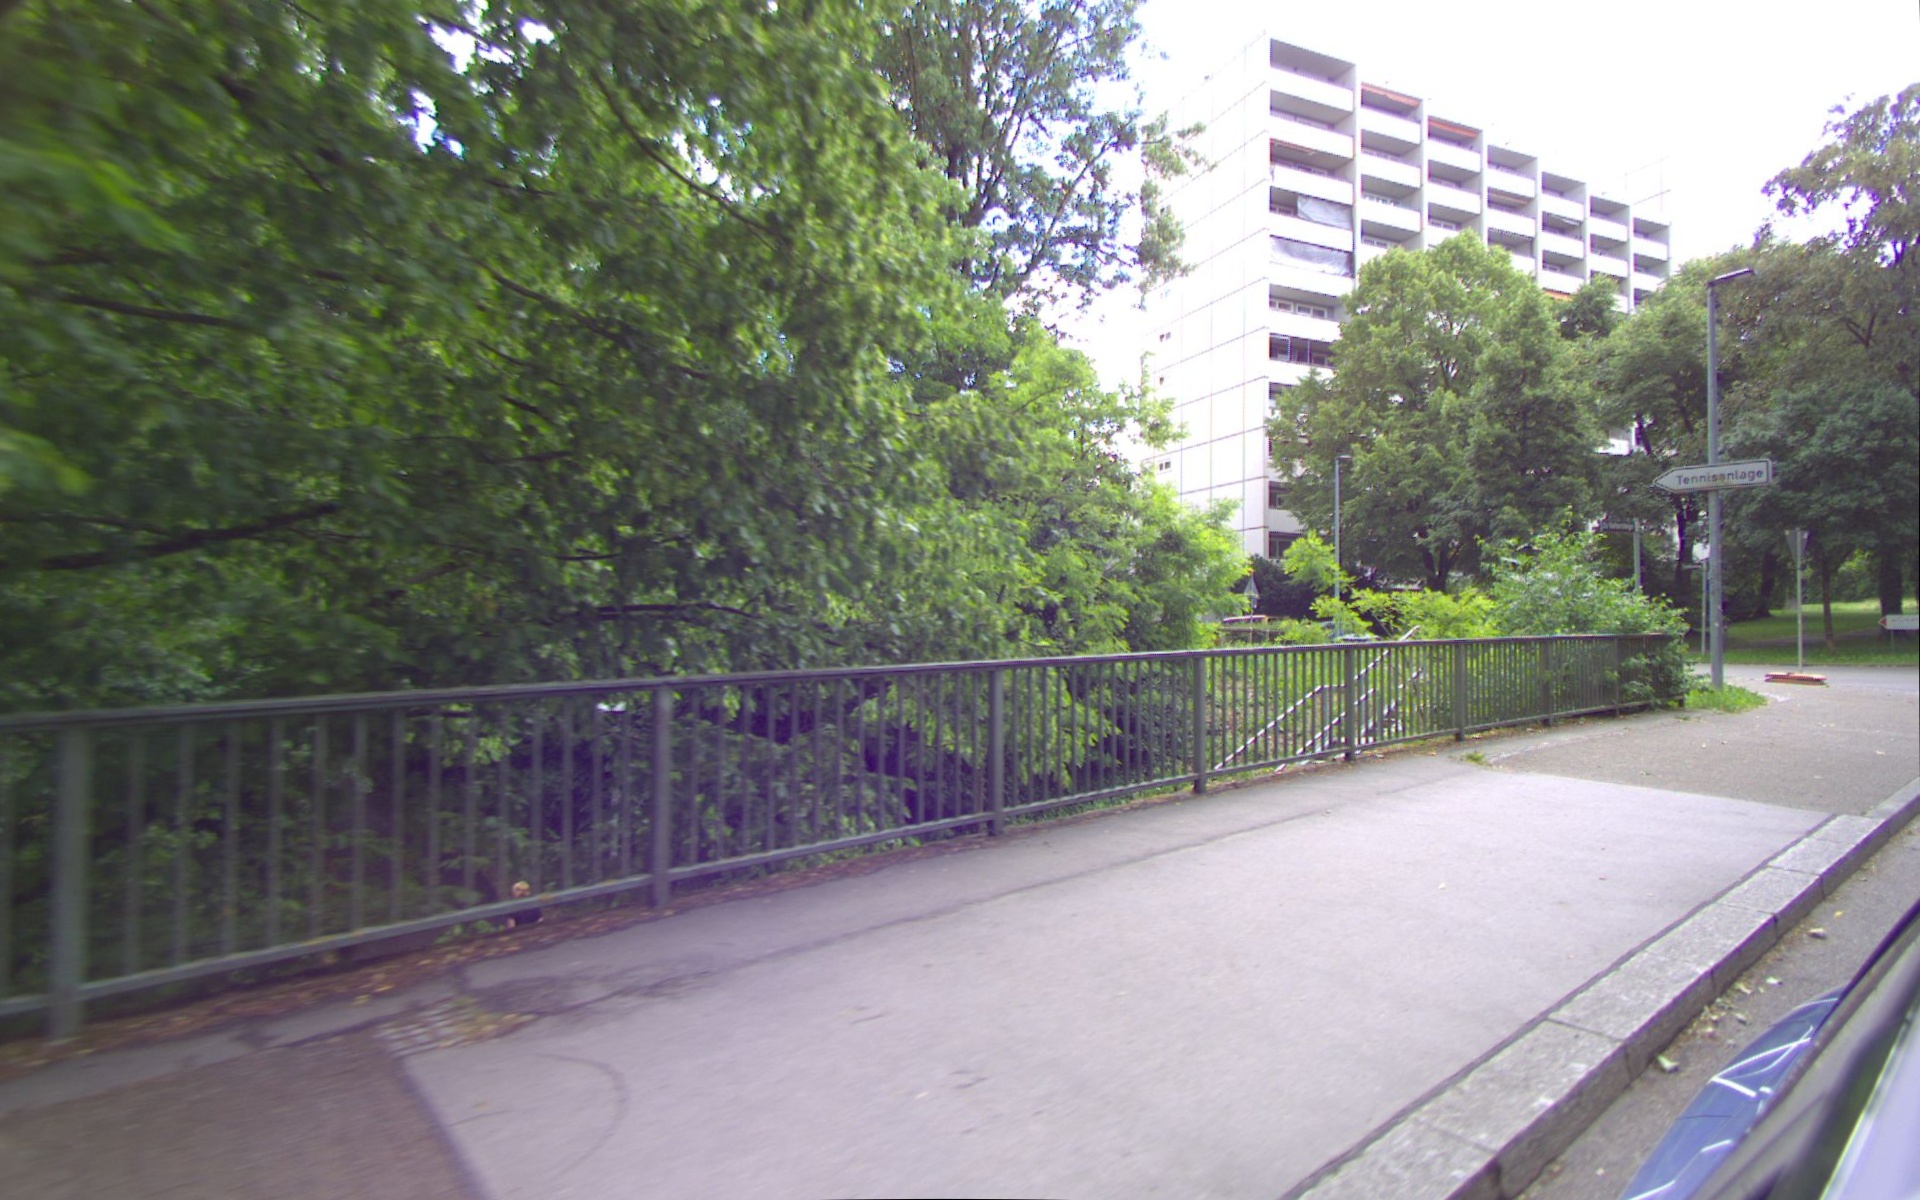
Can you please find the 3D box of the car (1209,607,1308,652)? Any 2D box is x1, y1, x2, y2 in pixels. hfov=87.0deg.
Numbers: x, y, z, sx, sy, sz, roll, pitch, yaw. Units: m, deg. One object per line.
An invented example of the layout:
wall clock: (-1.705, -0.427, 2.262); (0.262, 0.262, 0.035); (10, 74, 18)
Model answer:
car: (13.209, 1.282, 45.058); (1.794, 1.872, 4.417); (0, -1, -23)

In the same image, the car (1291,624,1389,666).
car: (15.198, 1.758, 40.655); (1.794, 1.590, 3.534); (0, -1, -20)
